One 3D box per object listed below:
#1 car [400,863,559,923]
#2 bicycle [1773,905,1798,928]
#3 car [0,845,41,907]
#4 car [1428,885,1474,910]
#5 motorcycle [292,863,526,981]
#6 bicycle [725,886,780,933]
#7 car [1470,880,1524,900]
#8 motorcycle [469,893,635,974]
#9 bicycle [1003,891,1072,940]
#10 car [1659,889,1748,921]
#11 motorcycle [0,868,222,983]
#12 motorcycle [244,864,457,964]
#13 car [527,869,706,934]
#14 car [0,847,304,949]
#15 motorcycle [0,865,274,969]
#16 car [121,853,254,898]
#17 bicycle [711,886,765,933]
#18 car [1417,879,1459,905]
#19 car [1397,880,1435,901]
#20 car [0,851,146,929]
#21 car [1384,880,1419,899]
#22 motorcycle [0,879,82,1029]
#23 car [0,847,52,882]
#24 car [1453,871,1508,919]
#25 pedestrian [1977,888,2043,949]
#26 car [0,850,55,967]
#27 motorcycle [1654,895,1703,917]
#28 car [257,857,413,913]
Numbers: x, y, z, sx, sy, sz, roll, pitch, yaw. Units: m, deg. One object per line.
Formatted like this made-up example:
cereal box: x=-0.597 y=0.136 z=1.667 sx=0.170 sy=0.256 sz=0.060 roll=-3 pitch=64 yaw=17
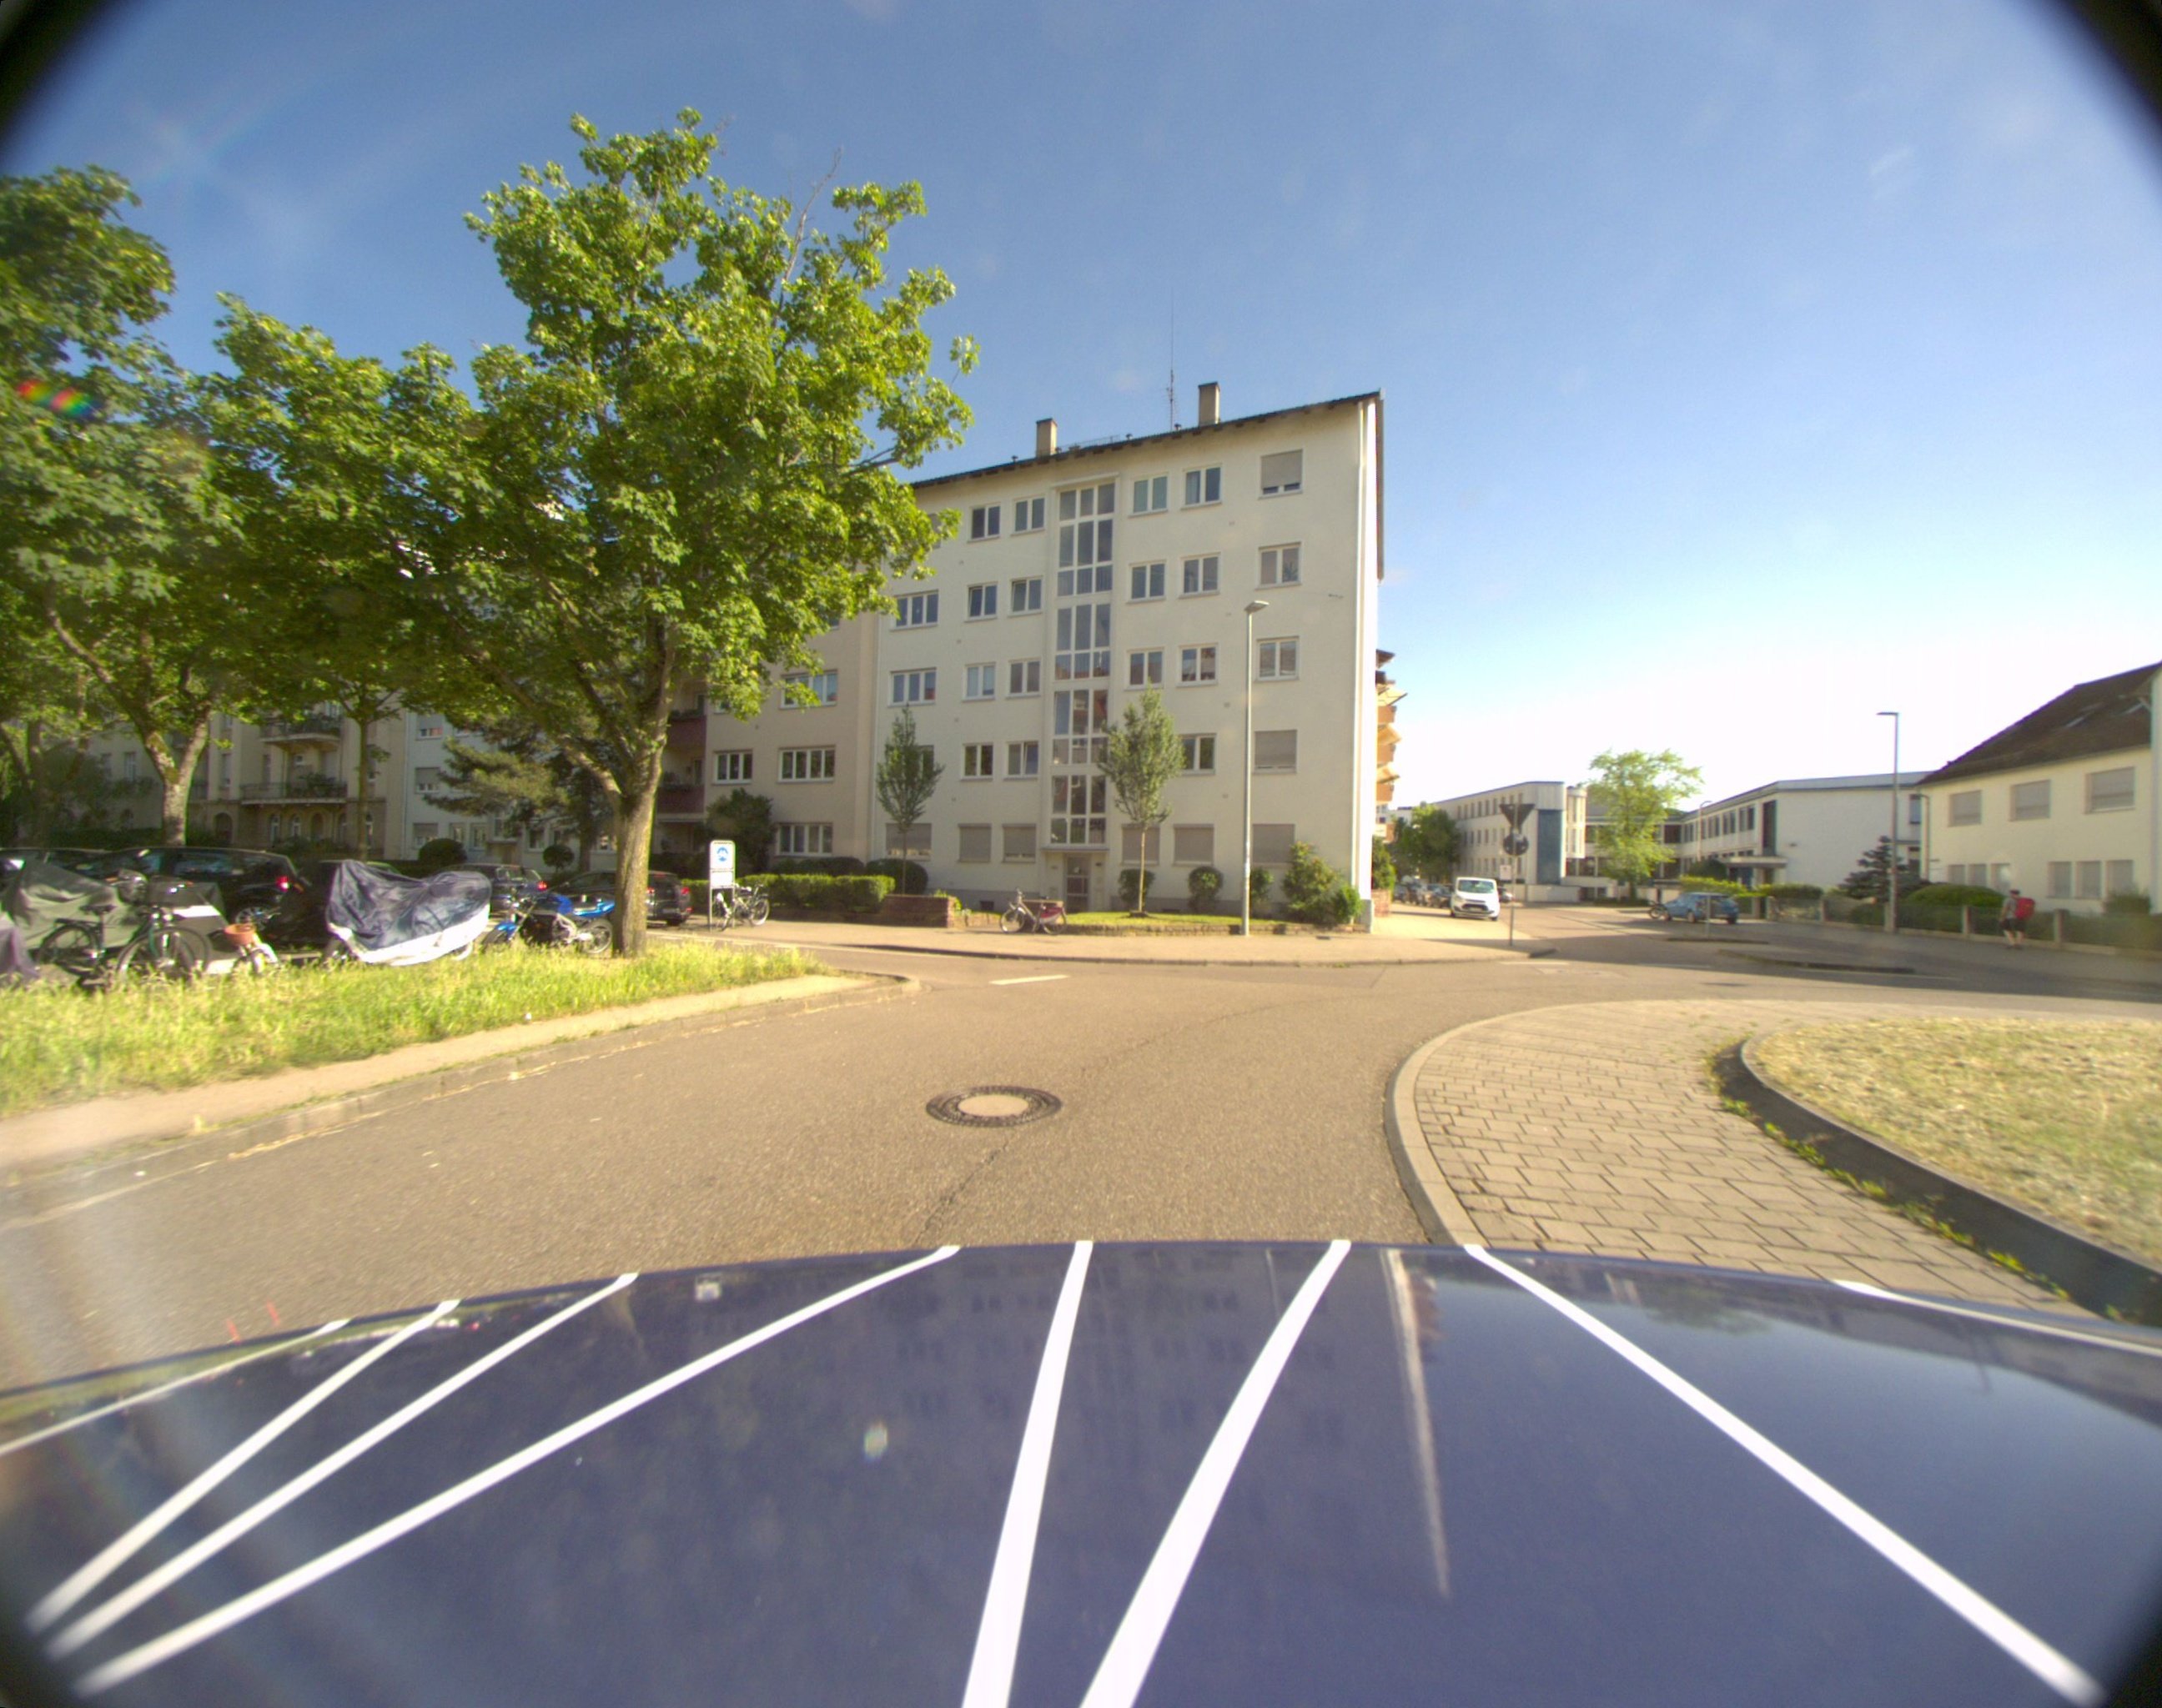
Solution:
car: x=-16.954 y=1.057 z=21.416 sx=3.990 sy=1.476 sz=1.788 roll=1 pitch=-2 yaw=23
bicycle: x=33.889 y=2.998 z=36.564 sx=0.345 sy=1.009 sz=1.265 roll=2 pitch=-1 yaw=19
car: x=-28.989 y=0.510 z=18.549 sx=1.776 sy=1.539 sz=4.009 roll=1 pitch=-1 yaw=45
car: x=24.202 y=2.825 z=49.845 sx=1.755 sy=1.386 sz=4.005 roll=5 pitch=0 yaw=12
motorcycle: x=-8.467 y=0.799 z=9.719 sx=0.861 sy=1.320 sz=2.057 roll=1 pitch=-1 yaw=19
bicycle: x=-8.219 y=1.374 z=19.057 sx=0.330 sy=1.051 sz=1.452 roll=1 pitch=2 yaw=21
car: x=35.933 y=3.090 z=65.760 sx=2.137 sy=1.603 sz=4.837 roll=0 pitch=-1 yaw=2
motorcycle: x=-7.842 y=1.136 z=11.383 sx=0.812 sy=1.066 sz=1.849 roll=1 pitch=-2 yaw=22
bicycle: x=-1.062 y=1.479 z=18.403 sx=1.621 sy=1.072 sz=0.385 roll=1 pitch=2 yaw=17
car: x=30.385 y=2.448 z=37.269 sx=1.882 sy=1.425 sz=4.422 roll=0 pitch=-2 yaw=18
motorcycle: x=-12.333 y=0.817 z=9.239 sx=1.049 sy=1.260 sz=2.246 roll=1 pitch=-1 yaw=22
motorcycle: x=-11.353 y=0.872 z=11.928 sx=1.060 sy=1.384 sz=2.131 roll=1 pitch=-1 yaw=21
car: x=-11.789 y=1.154 z=19.313 sx=3.990 sy=1.403 sz=1.836 roll=1 pitch=-2 yaw=23
car: x=-16.747 y=0.725 z=13.456 sx=1.994 sy=1.588 sz=4.010 roll=0 pitch=-1 yaw=40
motorcycle: x=-13.063 y=0.804 z=10.582 sx=1.049 sy=1.260 sz=2.246 roll=1 pitch=-1 yaw=22
car: x=-32.645 y=0.774 z=27.772 sx=3.990 sy=1.476 sz=1.788 roll=1 pitch=-2 yaw=20
bicycle: x=-8.659 y=1.379 z=19.230 sx=0.330 sy=1.051 sz=1.452 roll=1 pitch=2 yaw=21
car: x=25.380 y=2.668 z=54.135 sx=1.755 sy=1.632 sz=4.005 roll=5 pitch=0 yaw=13
car: x=26.862 y=2.927 z=61.078 sx=1.756 sy=1.445 sz=4.004 roll=5 pitch=0 yaw=10
car: x=-22.953 y=0.721 z=15.935 sx=4.009 sy=1.588 sz=1.873 roll=2 pitch=-2 yaw=-44
car: x=27.600 y=3.032 z=65.530 sx=1.756 sy=1.445 sz=4.003 roll=5 pitch=0 yaw=9
motorcycle: x=-10.189 y=0.855 z=5.842 sx=1.124 sy=1.260 sz=2.788 roll=1 pitch=-1 yaw=17
car: x=-47.958 y=0.425 z=33.600 sx=3.990 sy=1.476 sz=1.788 roll=1 pitch=-2 yaw=20
car: x=19.049 y=1.895 z=36.413 sx=1.994 sy=2.002 sz=4.807 roll=4 pitch=0 yaw=25
pedestrian: x=26.985 y=1.854 z=22.100 sx=0.818 sy=1.695 sz=0.999 roll=0 pitch=-1 yaw=20
car: x=-17.023 y=0.705 z=9.958 sx=3.885 sy=1.630 sz=1.798 roll=2 pitch=-1 yaw=-38
motorcycle: x=31.490 y=2.733 z=40.035 sx=0.592 sy=1.088 sz=1.958 roll=2 pitch=-3 yaw=-44
car: x=-22.906 y=0.937 z=23.358 sx=3.990 sy=1.496 sz=1.788 roll=1 pitch=-2 yaw=20
